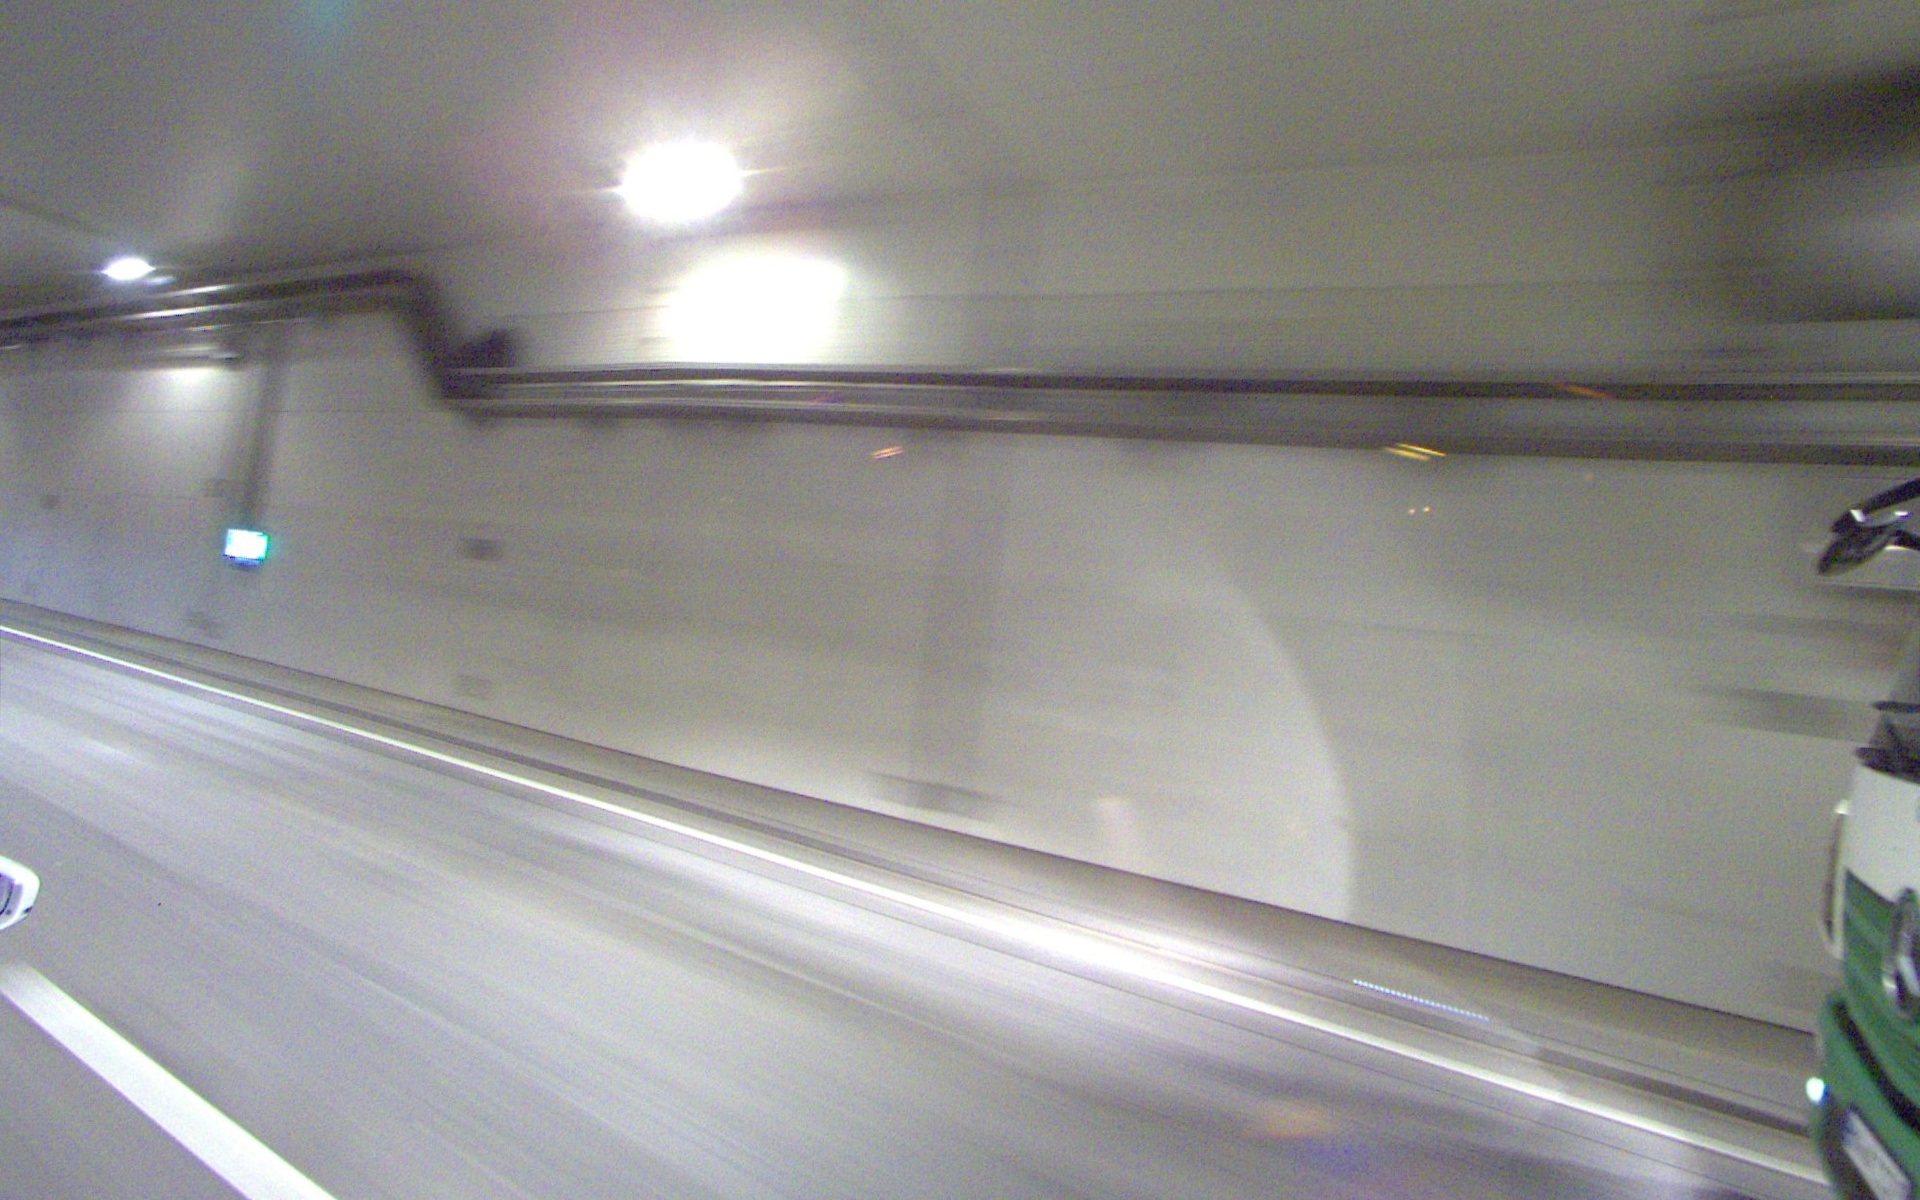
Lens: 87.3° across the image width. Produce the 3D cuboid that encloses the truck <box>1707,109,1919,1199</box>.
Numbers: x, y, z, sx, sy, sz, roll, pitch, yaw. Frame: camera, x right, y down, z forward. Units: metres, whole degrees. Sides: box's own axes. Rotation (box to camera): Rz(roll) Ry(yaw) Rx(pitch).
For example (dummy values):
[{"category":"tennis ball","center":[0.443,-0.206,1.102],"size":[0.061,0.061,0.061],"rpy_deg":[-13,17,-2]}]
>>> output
[{"category":"truck","center":[5.271,0.615,0.631],"size":[7.123,3.218,2.559],"rpy_deg":[8,-1,31]}]
